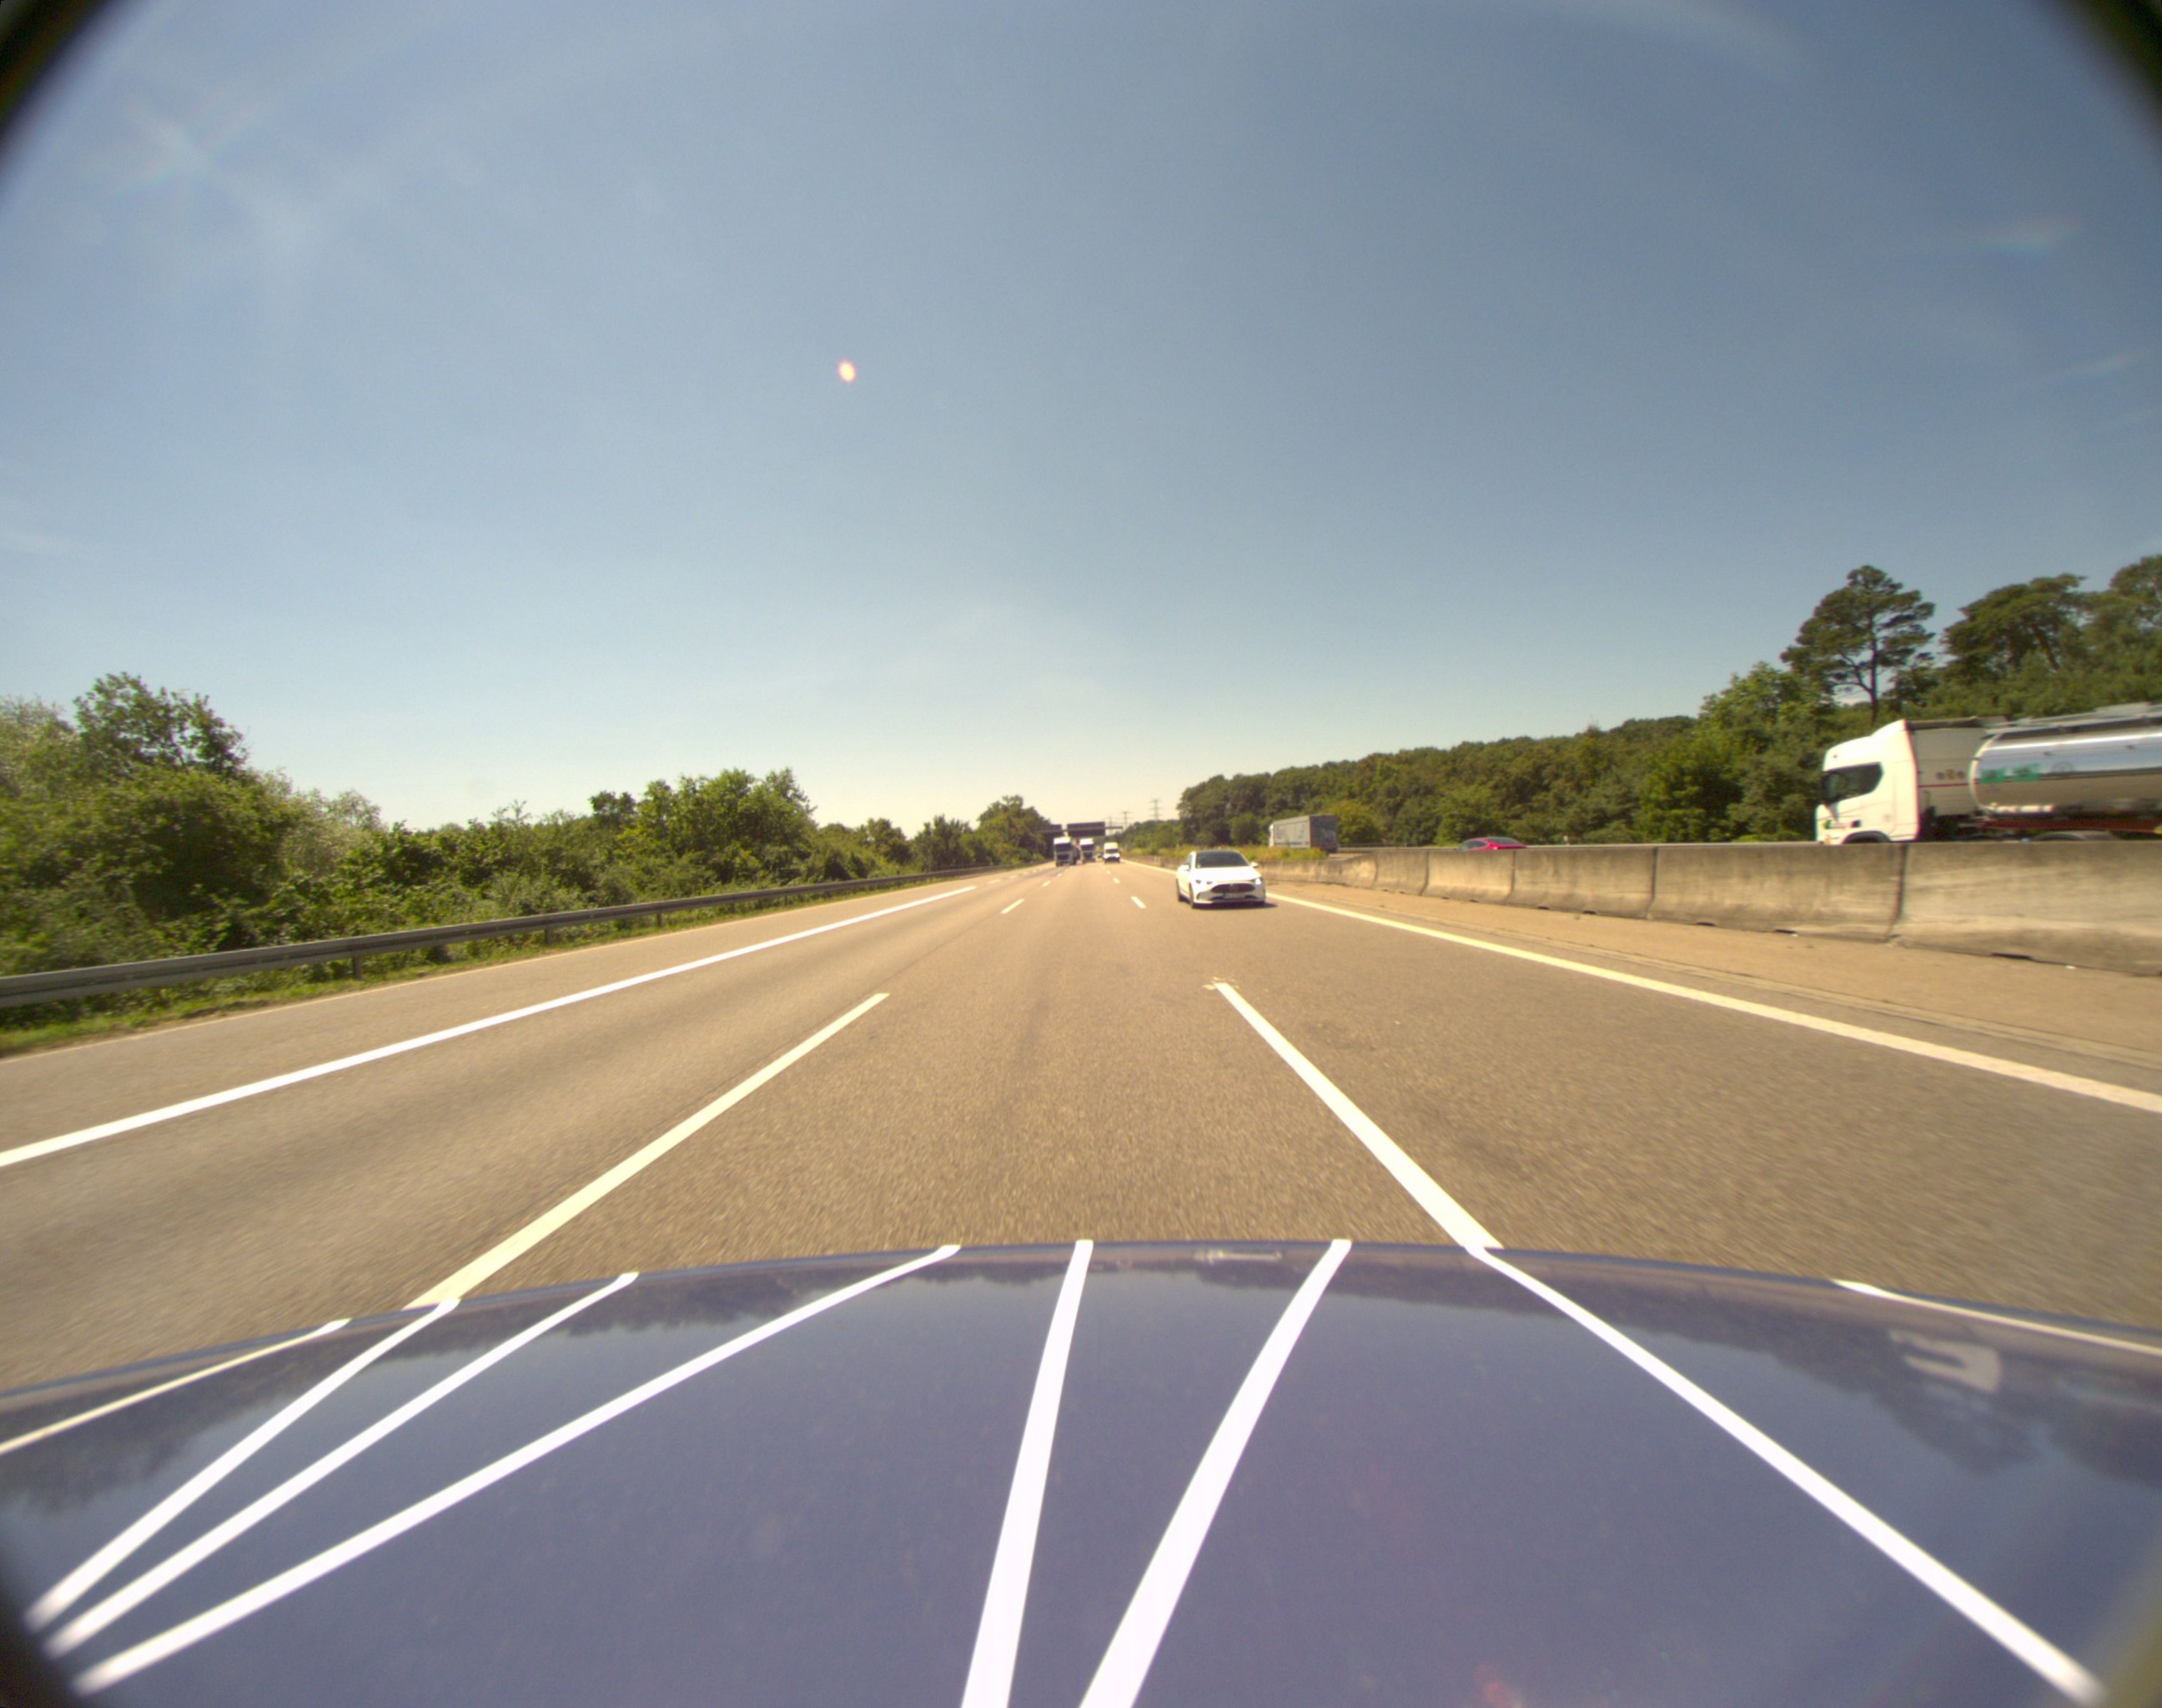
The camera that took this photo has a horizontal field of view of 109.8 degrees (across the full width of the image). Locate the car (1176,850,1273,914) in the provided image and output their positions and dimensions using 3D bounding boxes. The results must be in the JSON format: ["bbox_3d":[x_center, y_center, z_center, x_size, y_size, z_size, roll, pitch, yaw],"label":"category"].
[{"bbox_3d":[3.665,0.635,20.298,1.771,1.440,5.108,-2,0,2],"label":"car"}]

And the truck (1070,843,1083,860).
[{"bbox_3d":[-1.023,-0.617,189.156,2.852,3.747,6.495,-6,1,1],"label":"truck"}]

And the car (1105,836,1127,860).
[{"bbox_3d":[4.698,-0.822,102.542,2.521,2.857,6.400,-6,1,2],"label":"car"}]

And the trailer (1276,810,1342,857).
[{"bbox_3d":[22.244,-1.889,74.926,2.992,4.052,11.774,-3,0,1],"label":"trailer"}]

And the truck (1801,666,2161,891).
[{"bbox_3d":[20.778,-1.489,16.422,2.814,4.024,7.729,-6,1,0],"label":"truck"}]

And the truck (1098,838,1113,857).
[{"bbox_3d":[6.205,-1.685,192.233,3.333,4.351,8.501,-5,1,2],"label":"truck"}]

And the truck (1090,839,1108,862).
[{"bbox_3d":[3.880,-0.809,159.165,3.333,4.351,8.501,-5,1,2],"label":"truck"}]

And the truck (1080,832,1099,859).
[{"bbox_3d":[1.531,-1.497,131.892,2.700,4.232,8.243,-6,1,2],"label":"truck"}]

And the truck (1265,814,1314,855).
[{"bbox_3d":[22.408,-2.001,82.014,2.992,4.052,8.193,-3,0,1],"label":"truck"}]

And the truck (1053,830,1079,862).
[{"bbox_3d":[-2.173,-1.217,110.576,2.990,4.187,7.593,-6,1,2],"label":"truck"}]

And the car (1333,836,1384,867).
[{"bbox_3d":[19.688,-0.191,54.119,1.998,2.002,4.587,-3,0,1],"label":"car"}]

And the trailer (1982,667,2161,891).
[{"bbox_3d":[20.817,-1.446,11.027,2.814,4.024,10.429,-6,1,0],"label":"trailer"}]

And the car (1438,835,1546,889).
[{"bbox_3d":[17.059,0.291,31.835,1.999,2.002,4.574,-3,1,0],"label":"car"}]
